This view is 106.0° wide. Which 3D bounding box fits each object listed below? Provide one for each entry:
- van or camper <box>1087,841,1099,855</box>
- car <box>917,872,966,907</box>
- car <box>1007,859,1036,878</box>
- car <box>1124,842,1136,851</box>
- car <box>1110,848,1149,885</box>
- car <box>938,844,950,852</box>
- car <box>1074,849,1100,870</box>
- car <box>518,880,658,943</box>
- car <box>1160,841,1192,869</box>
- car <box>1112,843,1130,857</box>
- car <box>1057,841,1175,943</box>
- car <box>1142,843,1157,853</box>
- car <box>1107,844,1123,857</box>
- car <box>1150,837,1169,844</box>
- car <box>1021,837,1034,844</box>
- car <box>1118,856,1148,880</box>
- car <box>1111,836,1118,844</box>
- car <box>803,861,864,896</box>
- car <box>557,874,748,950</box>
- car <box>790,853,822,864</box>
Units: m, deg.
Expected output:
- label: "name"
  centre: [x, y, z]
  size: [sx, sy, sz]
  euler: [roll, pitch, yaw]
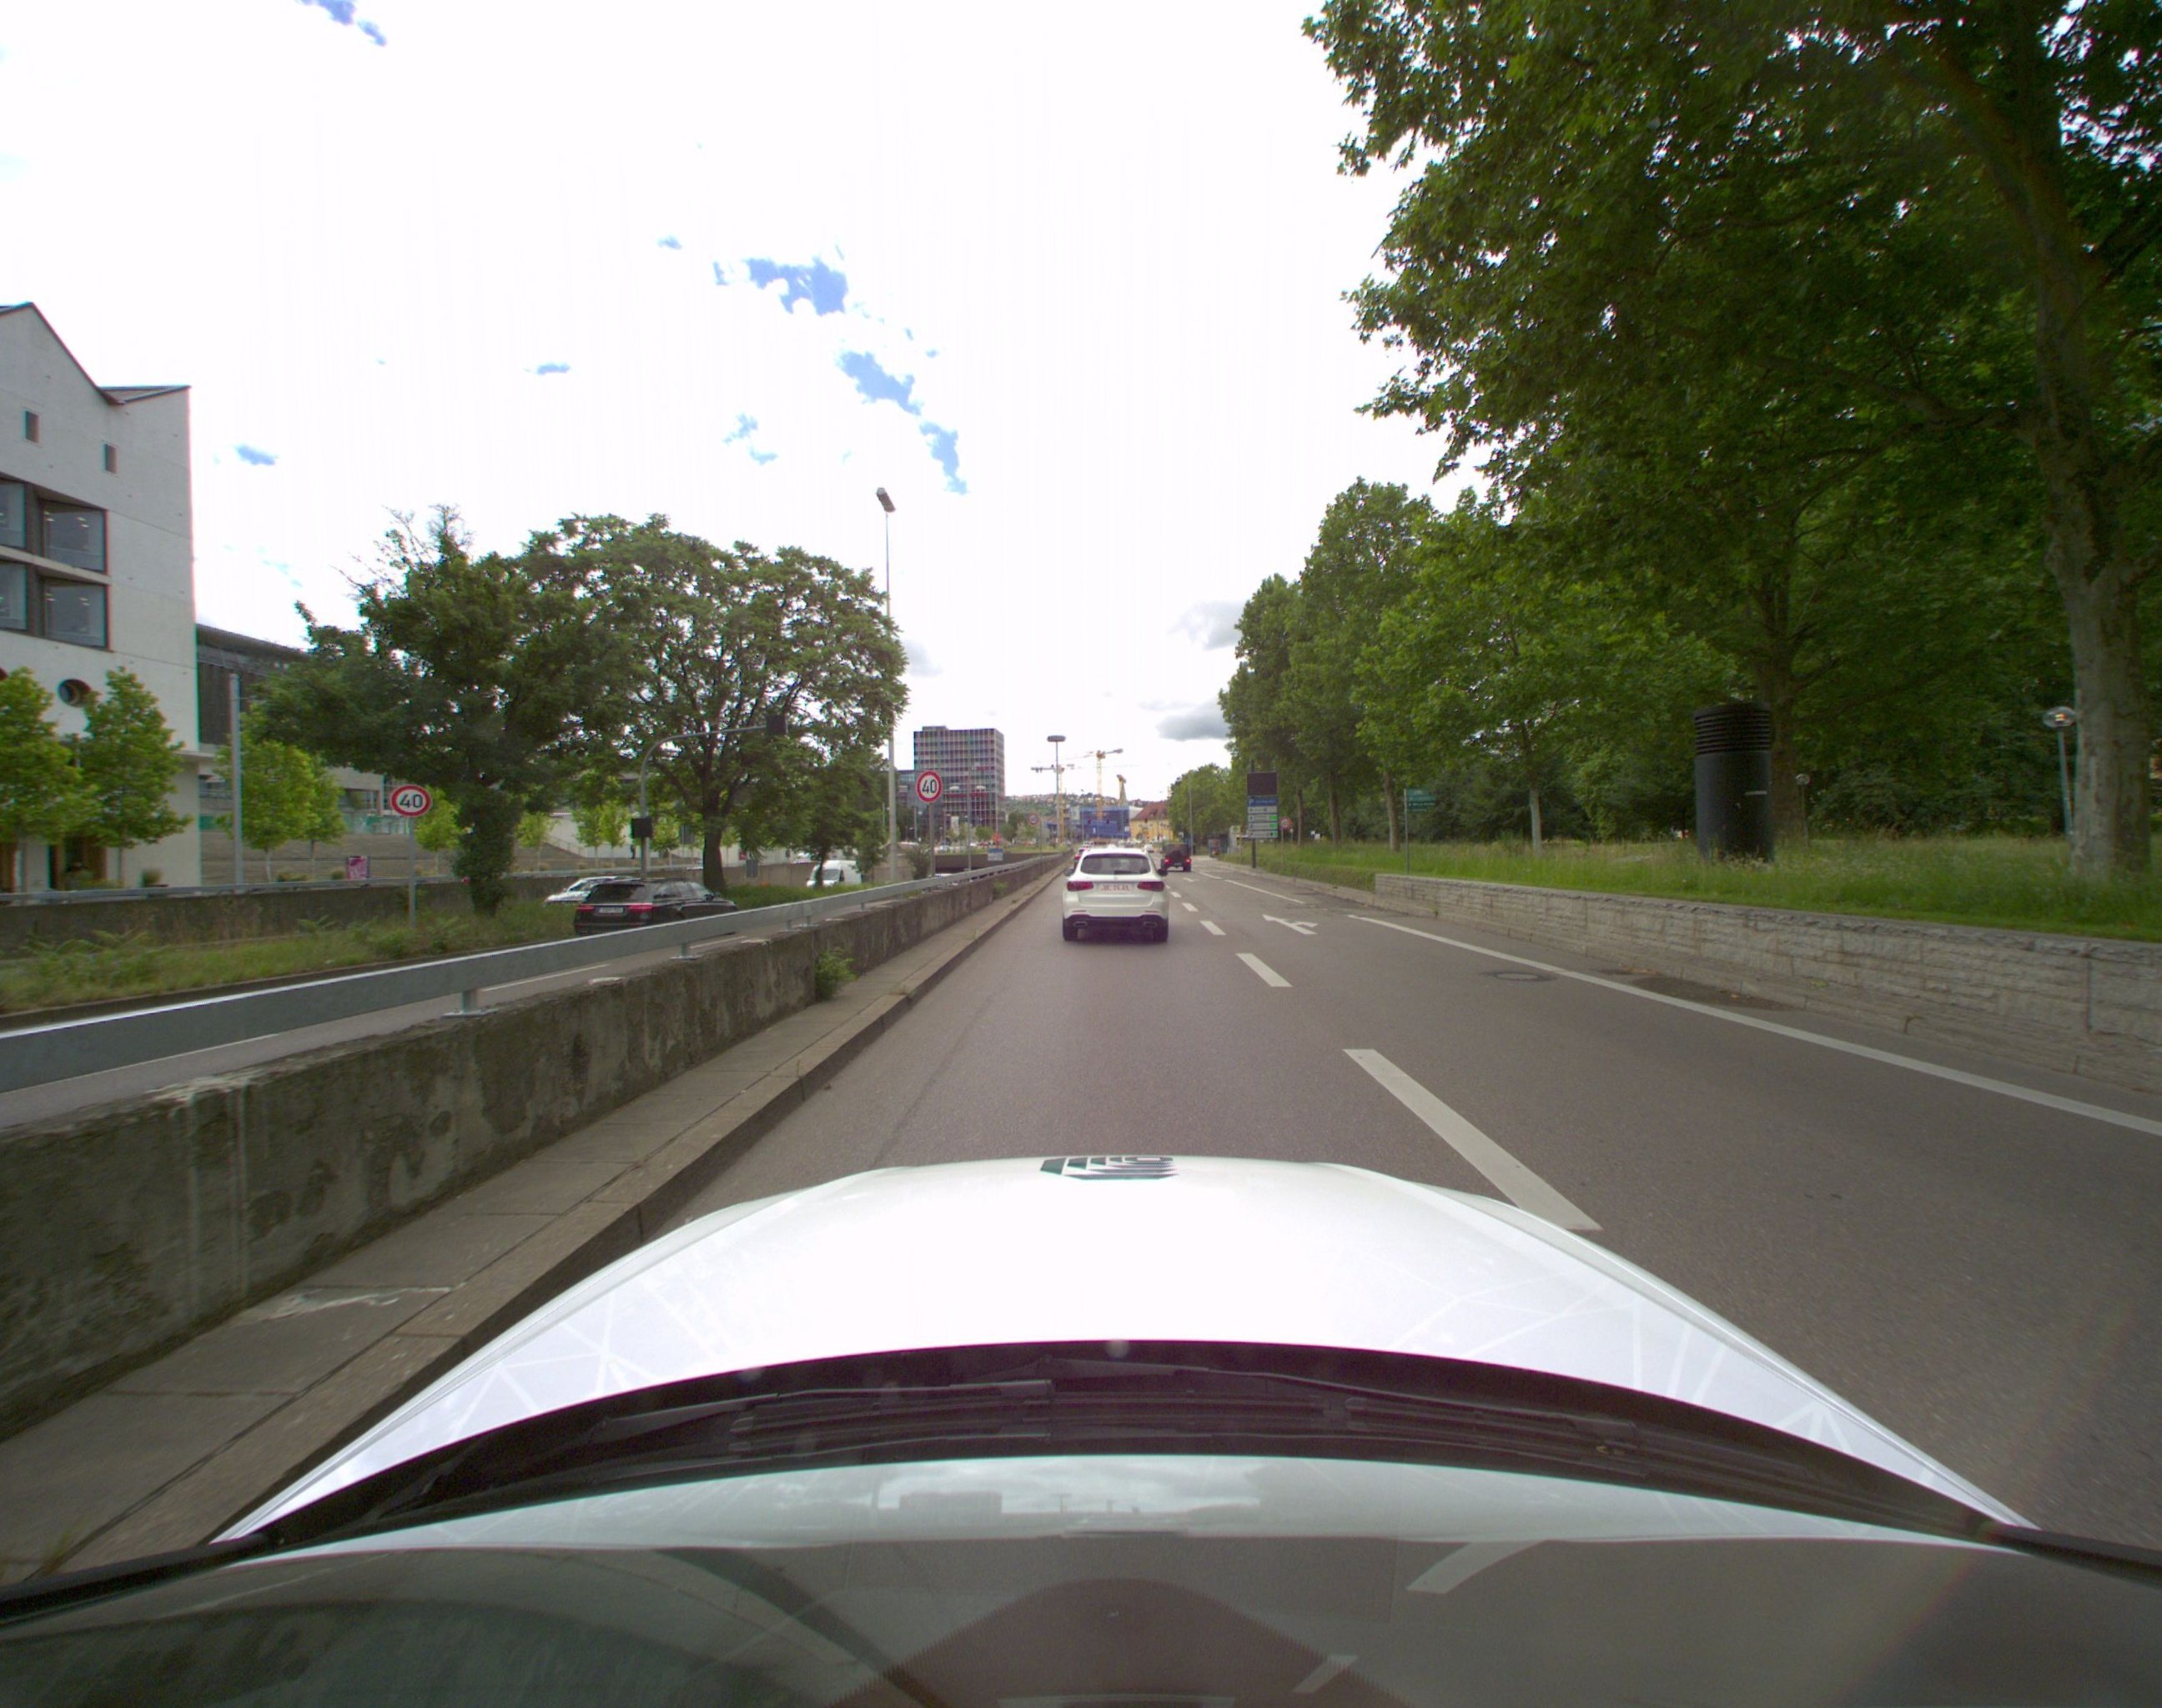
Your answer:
- label: "van or camper"
  centre: [1.953, -0.980, 135.285]
  size: [1.916, 2.320, 3.999]
  euler: [0, -2, 0]
- label: "car"
  centre: [-6.515, 1.627, 38.345]
  size: [1.622, 1.509, 3.540]
  euler: [0, -1, 1]
- label: "car"
  centre: [-4.497, 1.100, 62.144]
  size: [1.712, 1.292, 4.004]
  euler: [1, 0, 3]
- label: "car"
  centre: [8.612, -1.325, 142.832]
  size: [1.714, 1.584, 3.999]
  euler: [1, 0, -1]
- label: "car"
  centre: [2.239, 0.570, 38.210]
  size: [1.666, 1.627, 4.002]
  euler: [1, 0, 2]
- label: "car"
  centre: [-26.199, -1.131, 155.962]
  size: [1.829, 1.360, 3.862]
  euler: [1, -1, -4]
- label: "car"
  centre: [0.491, 0.392, 61.811]
  size: [1.916, 1.602, 4.000]
  euler: [0, 0, 0]
- label: "car"
  centre: [-16.386, 1.853, 27.379]
  size: [1.850, 1.717, 4.447]
  euler: [-2, 0, 1]
- label: "car"
  centre: [6.731, 0.088, 58.108]
  size: [1.969, 1.893, 4.711]
  euler: [1, -1, 3]
- label: "car"
  centre: [4.816, -0.447, 98.567]
  size: [1.987, 1.662, 4.000]
  euler: [1, -1, 0]
- label: "car"
  centre: [0.597, 0.647, 15.532]
  size: [1.934, 1.684, 4.000]
  euler: [1, -1, 0]
- label: "car"
  centre: [12.005, -1.104, 142.773]
  size: [1.989, 1.618, 3.995]
  euler: [1, -1, -4]
- label: "car"
  centre: [4.715, -0.452, 113.788]
  size: [1.987, 1.781, 4.000]
  euler: [1, -1, 0]
- label: "car"
  centre: [23.613, -4.057, 245.390]
  size: [5.221, 2.060, 1.885]
  euler: [1, -1, 36]
- label: "car"
  centre: [-16.871, -4.218, 256.619]
  size: [3.995, 2.014, 1.989]
  euler: [1, -1, -17]
- label: "car"
  centre: [3.676, 0.985, 58.079]
  size: [1.916, 1.602, 4.000]
  euler: [0, 0, 0]
- label: "car"
  centre: [8.590, -3.554, 208.138]
  size: [1.794, 2.014, 4.000]
  euler: [1, -1, 0]
- label: "car"
  centre: [-16.224, 1.561, 53.805]
  size: [1.968, 2.165, 6.213]
  euler: [0, -1, 1]
- label: "car"
  centre: [-9.751, 1.243, 19.087]
  size: [1.806, 1.460, 4.863]
  euler: [0, -1, 1]
- label: "car"
  centre: [-29.658, 0.468, 87.933]
  size: [1.803, 1.119, 4.807]
  euler: [1, -1, 0]
